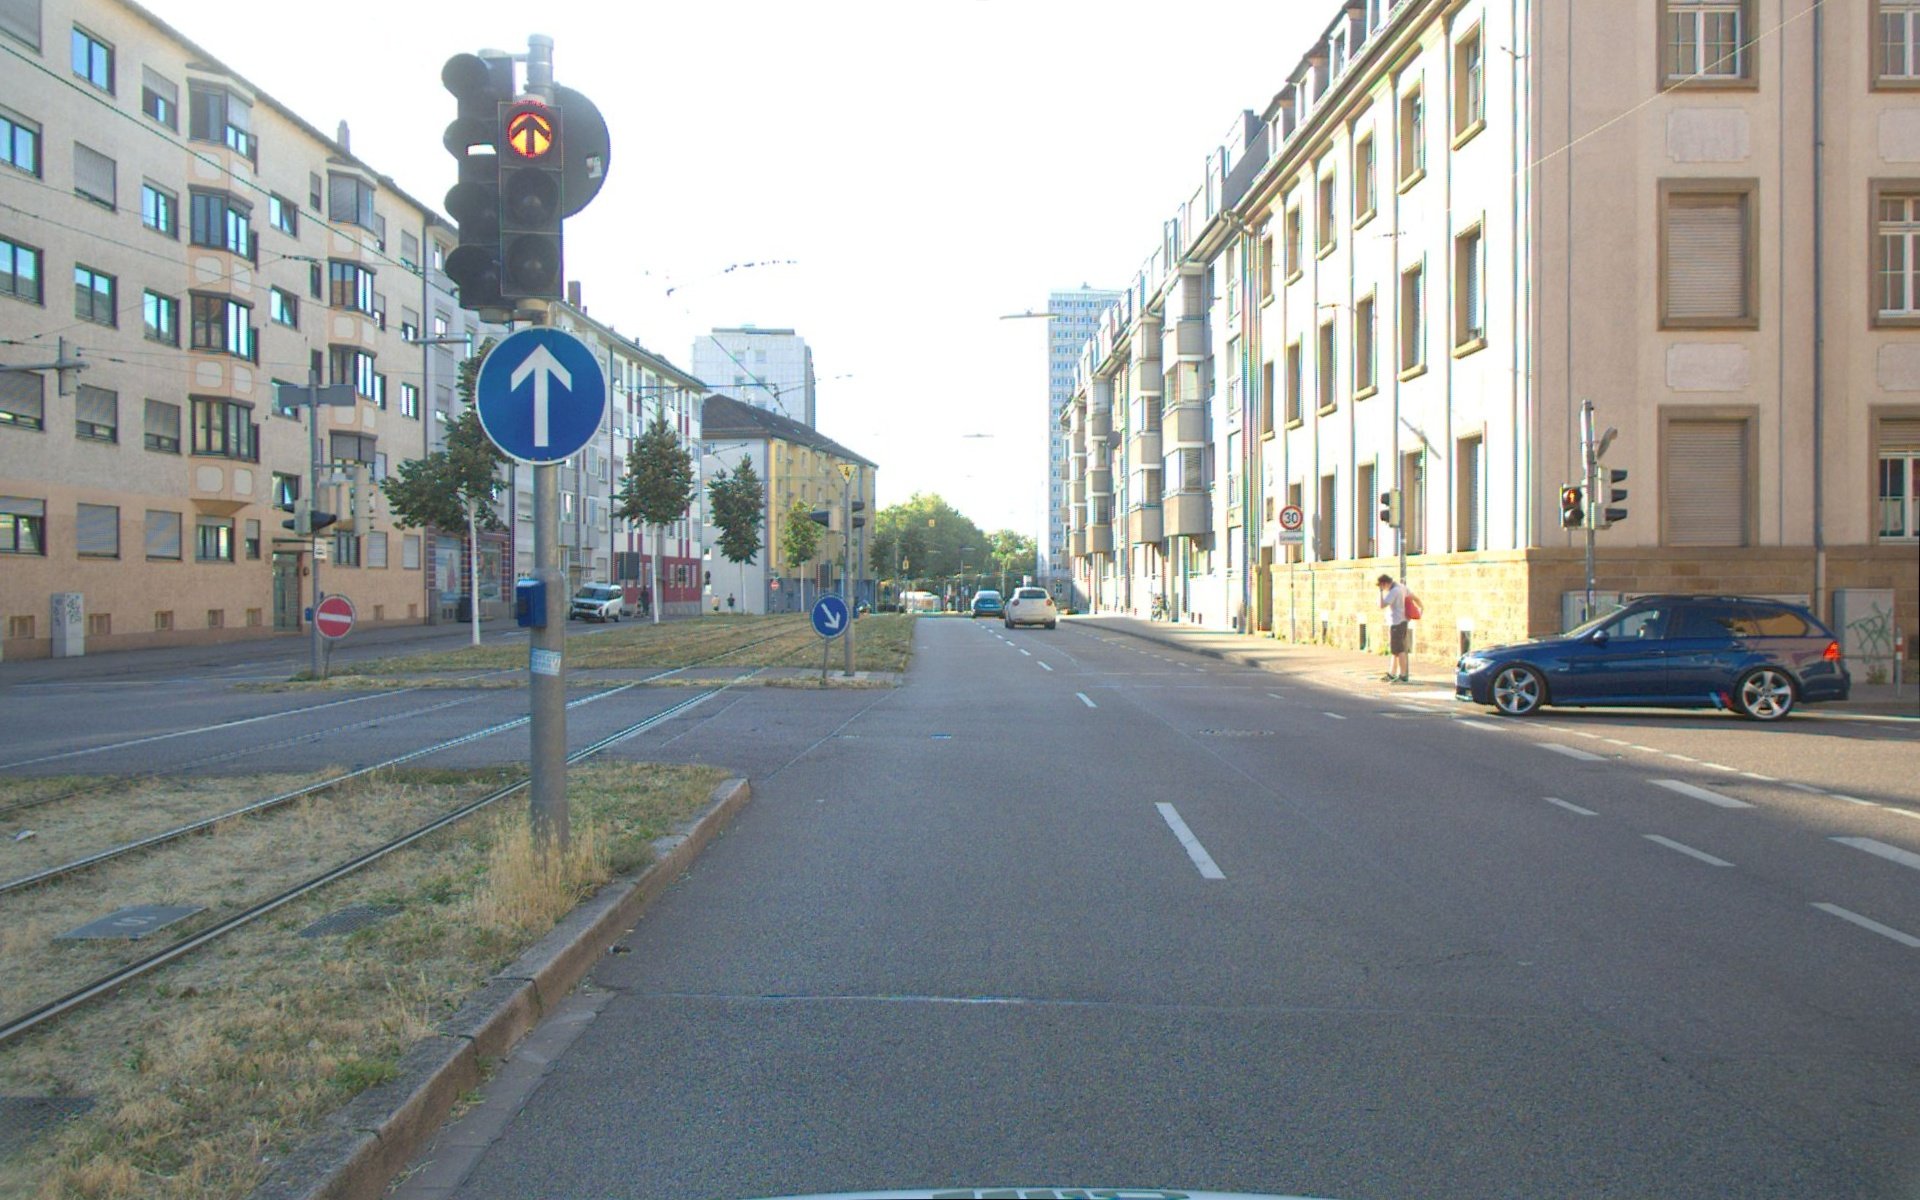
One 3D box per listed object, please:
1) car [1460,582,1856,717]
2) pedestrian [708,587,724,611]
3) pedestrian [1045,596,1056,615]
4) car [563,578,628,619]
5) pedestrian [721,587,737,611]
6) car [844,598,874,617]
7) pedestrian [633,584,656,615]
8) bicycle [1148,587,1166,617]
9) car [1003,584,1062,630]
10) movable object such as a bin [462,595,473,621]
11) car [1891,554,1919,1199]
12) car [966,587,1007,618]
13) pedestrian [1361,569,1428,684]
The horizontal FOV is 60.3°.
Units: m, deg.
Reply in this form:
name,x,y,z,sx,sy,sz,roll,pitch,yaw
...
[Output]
name,x,y,z,sx,sy,sz,roll,pitch,yaw
car,8.354,0.559,20.214,4.222,1.481,1.934,1,0,15
pedestrian,-17.751,-0.099,120.317,0.942,1.723,1.011,1,0,4
pedestrian,5.984,0.355,109.168,0.677,1.256,0.736,1,0,0
car,-17.876,-0.064,81.316,1.952,1.958,4.543,1,0,3
pedestrian,-16.906,-0.083,120.866,0.942,1.699,1.011,1,0,4
car,-9.214,0.709,150.821,1.857,1.662,4.751,-1,0,7
pedestrian,-18.281,-0.017,95.775,1.246,1.791,1.271,1,0,-10
bicycle,7.387,0.082,62.022,0.376,1.115,1.503,-1,0,-3
car,2.581,0.247,59.781,1.952,1.591,4.000,1,0,0
movable object such as a bin,-20.277,0.341,68.066,0.292,1.054,0.441,1,-1,0
car,2.874,0.722,1.464,1.663,1.580,4.225,1,0,-1
car,1.399,0.137,88.416,1.953,1.581,4.392,1,0,-2
pedestrian,6.908,0.411,26.321,0.818,1.793,0.824,1,-1,-1
